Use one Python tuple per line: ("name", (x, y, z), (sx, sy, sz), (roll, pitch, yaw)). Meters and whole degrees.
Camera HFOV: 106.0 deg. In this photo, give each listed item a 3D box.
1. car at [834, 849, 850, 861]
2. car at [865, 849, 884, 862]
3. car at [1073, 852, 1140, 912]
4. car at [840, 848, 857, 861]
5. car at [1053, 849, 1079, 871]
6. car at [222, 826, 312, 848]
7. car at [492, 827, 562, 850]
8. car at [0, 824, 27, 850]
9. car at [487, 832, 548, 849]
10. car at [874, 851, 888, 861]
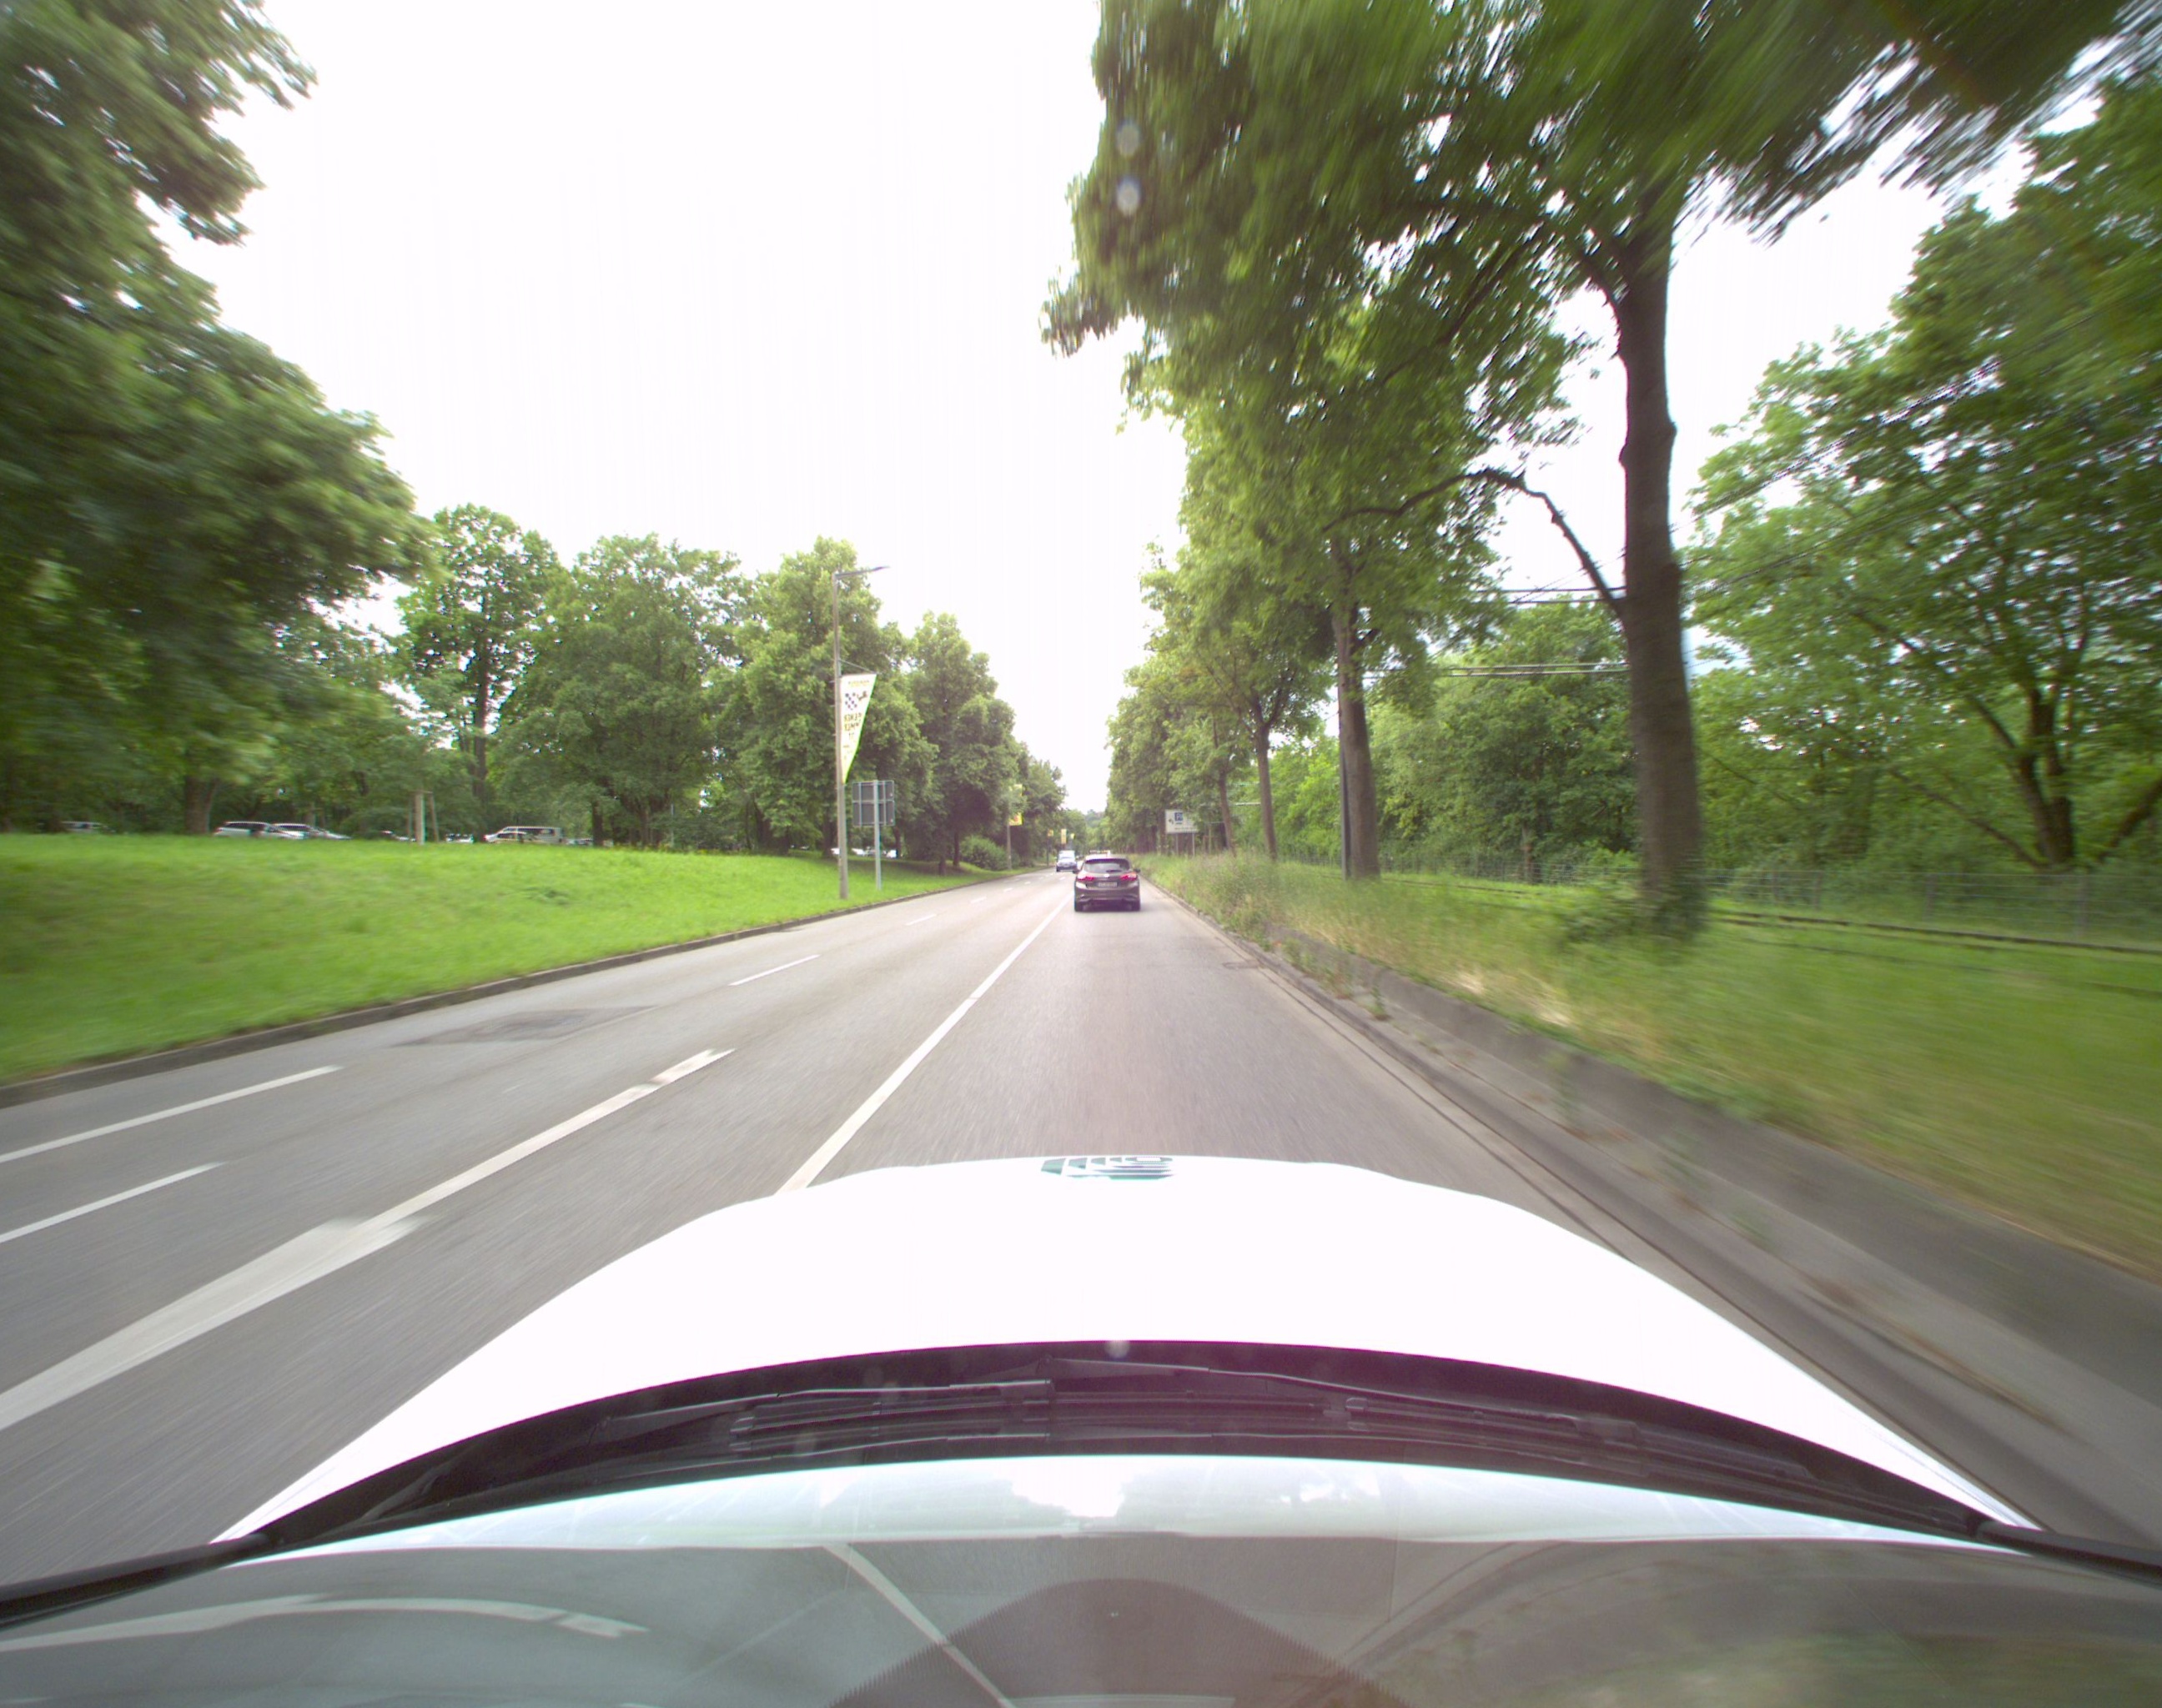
("car", (-31.437, 0.163, 106.859), (1.652, 1.486, 3.971), (0, 0, -22))
("car", (-24.799, 0.154, 97.847), (1.652, 1.486, 3.971), (0, 0, -22))
("car", (0.711, 0.722, 22.805), (1.724, 1.537, 3.552), (0, 0, 1))
("car", (-27.800, 0.083, 97.351), (1.652, 1.486, 3.971), (0, 0, -22))
("car", (-1.378, 0.580, 76.210), (1.985, 1.955, 5.187), (-2, -1, 2))
("car", (-48.748, -0.990, 48.832), (3.516, 1.233, 1.388), (0, -1, -26))
("car", (-42.168, -1.186, 62.065), (4.118, 1.683, 1.741), (0, -1, -22))
("car", (-89.322, -1.395, 66.680), (1.905, 2.059, 3.955), (0, 0, -23))
("car", (-41.178, -0.971, 59.564), (3.516, 1.210, 1.388), (0, -1, -26))
("car", (-30.485, 0.255, 124.145), (1.652, 1.486, 3.971), (0, 0, -22))
